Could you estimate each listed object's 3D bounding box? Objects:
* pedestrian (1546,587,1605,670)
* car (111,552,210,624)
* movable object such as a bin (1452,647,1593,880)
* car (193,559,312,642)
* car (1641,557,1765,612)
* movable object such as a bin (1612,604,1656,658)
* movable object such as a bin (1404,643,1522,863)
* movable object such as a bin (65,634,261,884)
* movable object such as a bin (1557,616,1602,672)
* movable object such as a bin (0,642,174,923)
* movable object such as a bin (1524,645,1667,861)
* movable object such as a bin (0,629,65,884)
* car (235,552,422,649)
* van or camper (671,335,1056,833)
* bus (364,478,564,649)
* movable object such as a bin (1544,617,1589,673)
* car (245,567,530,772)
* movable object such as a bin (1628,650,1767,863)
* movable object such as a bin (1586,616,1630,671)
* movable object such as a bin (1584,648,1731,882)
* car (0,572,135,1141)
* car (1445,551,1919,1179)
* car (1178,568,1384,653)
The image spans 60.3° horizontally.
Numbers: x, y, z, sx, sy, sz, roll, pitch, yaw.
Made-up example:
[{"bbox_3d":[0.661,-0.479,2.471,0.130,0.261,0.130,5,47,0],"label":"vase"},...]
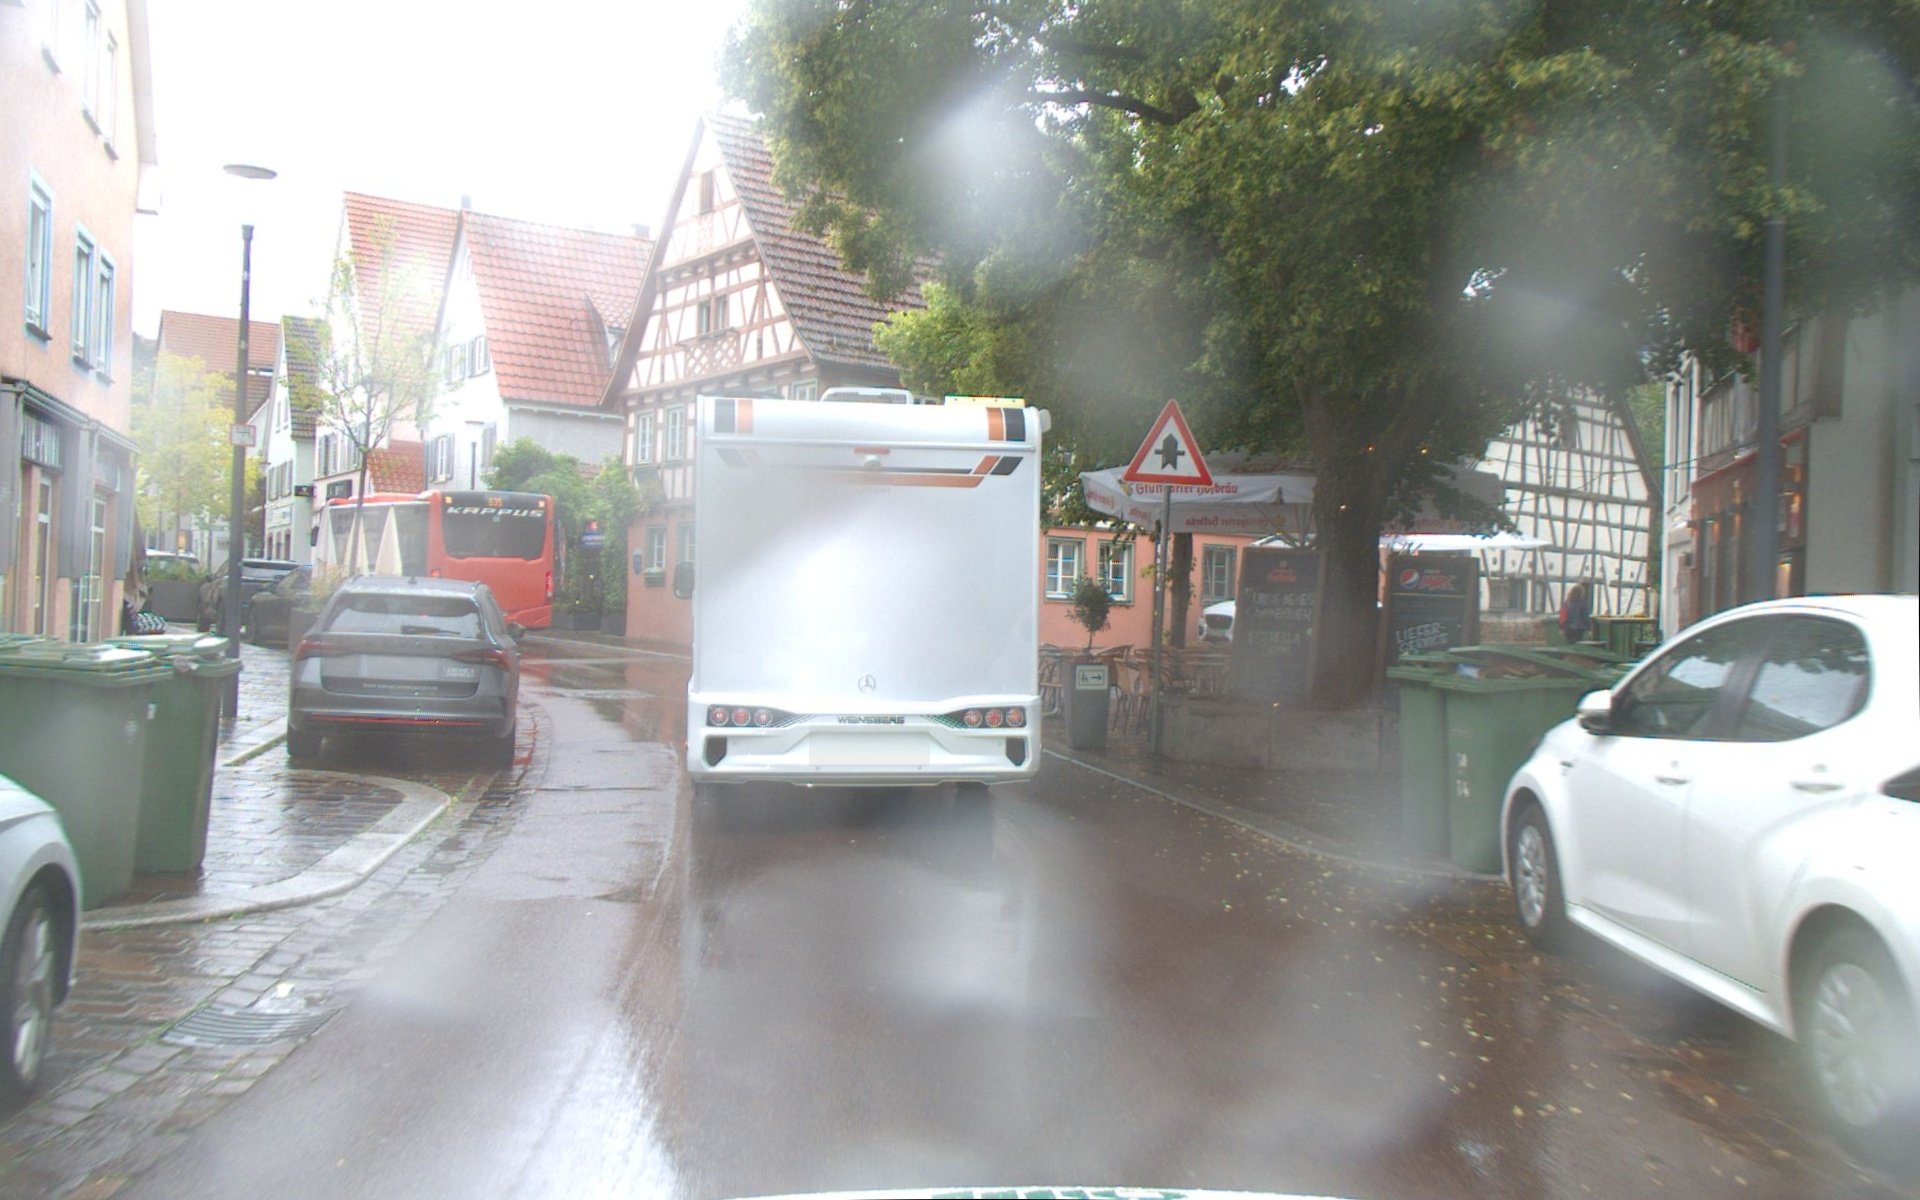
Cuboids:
[{"bbox_3d":[11.701,0.532,31.438,0.835,1.544,0.749,1,-1,-42],"label":"pedestrian"},{"bbox_3d":[-20.872,-0.304,43.091,1.755,1.704,4.429,3,-1,-32],"label":"car"},{"bbox_3d":[2.944,0.843,8.681,0.523,1.169,0.500,1,-1,-8],"label":"movable object such as a bin"},{"bbox_3d":[-14.356,0.010,33.455,1.578,1.573,3.932,1,0,-33],"label":"car"},{"bbox_3d":[22.686,-0.455,50.436,3.963,1.557,1.971,1,-1,-41],"label":"car"},{"bbox_3d":[14.174,0.650,34.767,0.648,1.113,0.599,1,-1,-35],"label":"movable object such as a bin"},{"bbox_3d":[2.823,0.848,9.307,0.468,1.189,0.488,1,-1,-8],"label":"movable object such as a bin"},{"bbox_3d":[-3.784,0.738,7.897,0.647,1.128,0.623,1,-1,-7],"label":"movable object such as a bin"},{"bbox_3d":[12.672,0.900,33.844,0.648,1.113,0.599,1,-1,-35],"label":"movable object such as a bin"},{"bbox_3d":[-3.833,0.756,7.035,0.678,1.106,0.546,3,-1,-7],"label":"movable object such as a bin"},{"bbox_3d":[3.589,0.848,9.363,0.534,1.169,0.584,1,-1,-8],"label":"movable object such as a bin"},{"bbox_3d":[-4.641,0.701,7.673,0.647,1.128,0.623,1,-1,-7],"label":"movable object such as a bin"},{"bbox_3d":[-11.365,-0.028,29.582,1.789,1.457,4.564,4,-1,-38],"label":"car"},{"bbox_3d":[-0.892,-0.067,13.179,2.281,2.970,6.385,1,0,-6],"label":"van or camper"},{"bbox_3d":[-10.768,-0.698,35.482,2.614,3.283,6.535,1,-1,-30],"label":"bus"},{"bbox_3d":[12.206,0.904,33.299,0.648,1.113,0.599,1,-1,-35],"label":"movable object such as a bin"},{"bbox_3d":[-4.748,0.521,14.278,1.960,1.480,4.356,1,0,-15],"label":"car"},{"bbox_3d":[4.225,0.881,9.498,0.494,1.169,0.579,1,-1,-8],"label":"movable object such as a bin"},{"bbox_3d":[13.469,0.900,34.378,0.648,1.113,0.599,1,-1,-35],"label":"movable object such as a bin"},{"bbox_3d":[3.638,0.845,8.648,0.520,1.169,0.500,1,-1,-8],"label":"movable object such as a bin"},{"bbox_3d":[-3.093,0.653,3.163,1.659,1.447,3.808,1,1,-10],"label":"car"},{"bbox_3d":[3.230,0.686,5.954,1.655,1.566,4.403,1,0,0],"label":"car"},{"bbox_3d":[7.068,0.251,36.203,4.418,1.659,1.920,1,3,-37],"label":"car"}]
